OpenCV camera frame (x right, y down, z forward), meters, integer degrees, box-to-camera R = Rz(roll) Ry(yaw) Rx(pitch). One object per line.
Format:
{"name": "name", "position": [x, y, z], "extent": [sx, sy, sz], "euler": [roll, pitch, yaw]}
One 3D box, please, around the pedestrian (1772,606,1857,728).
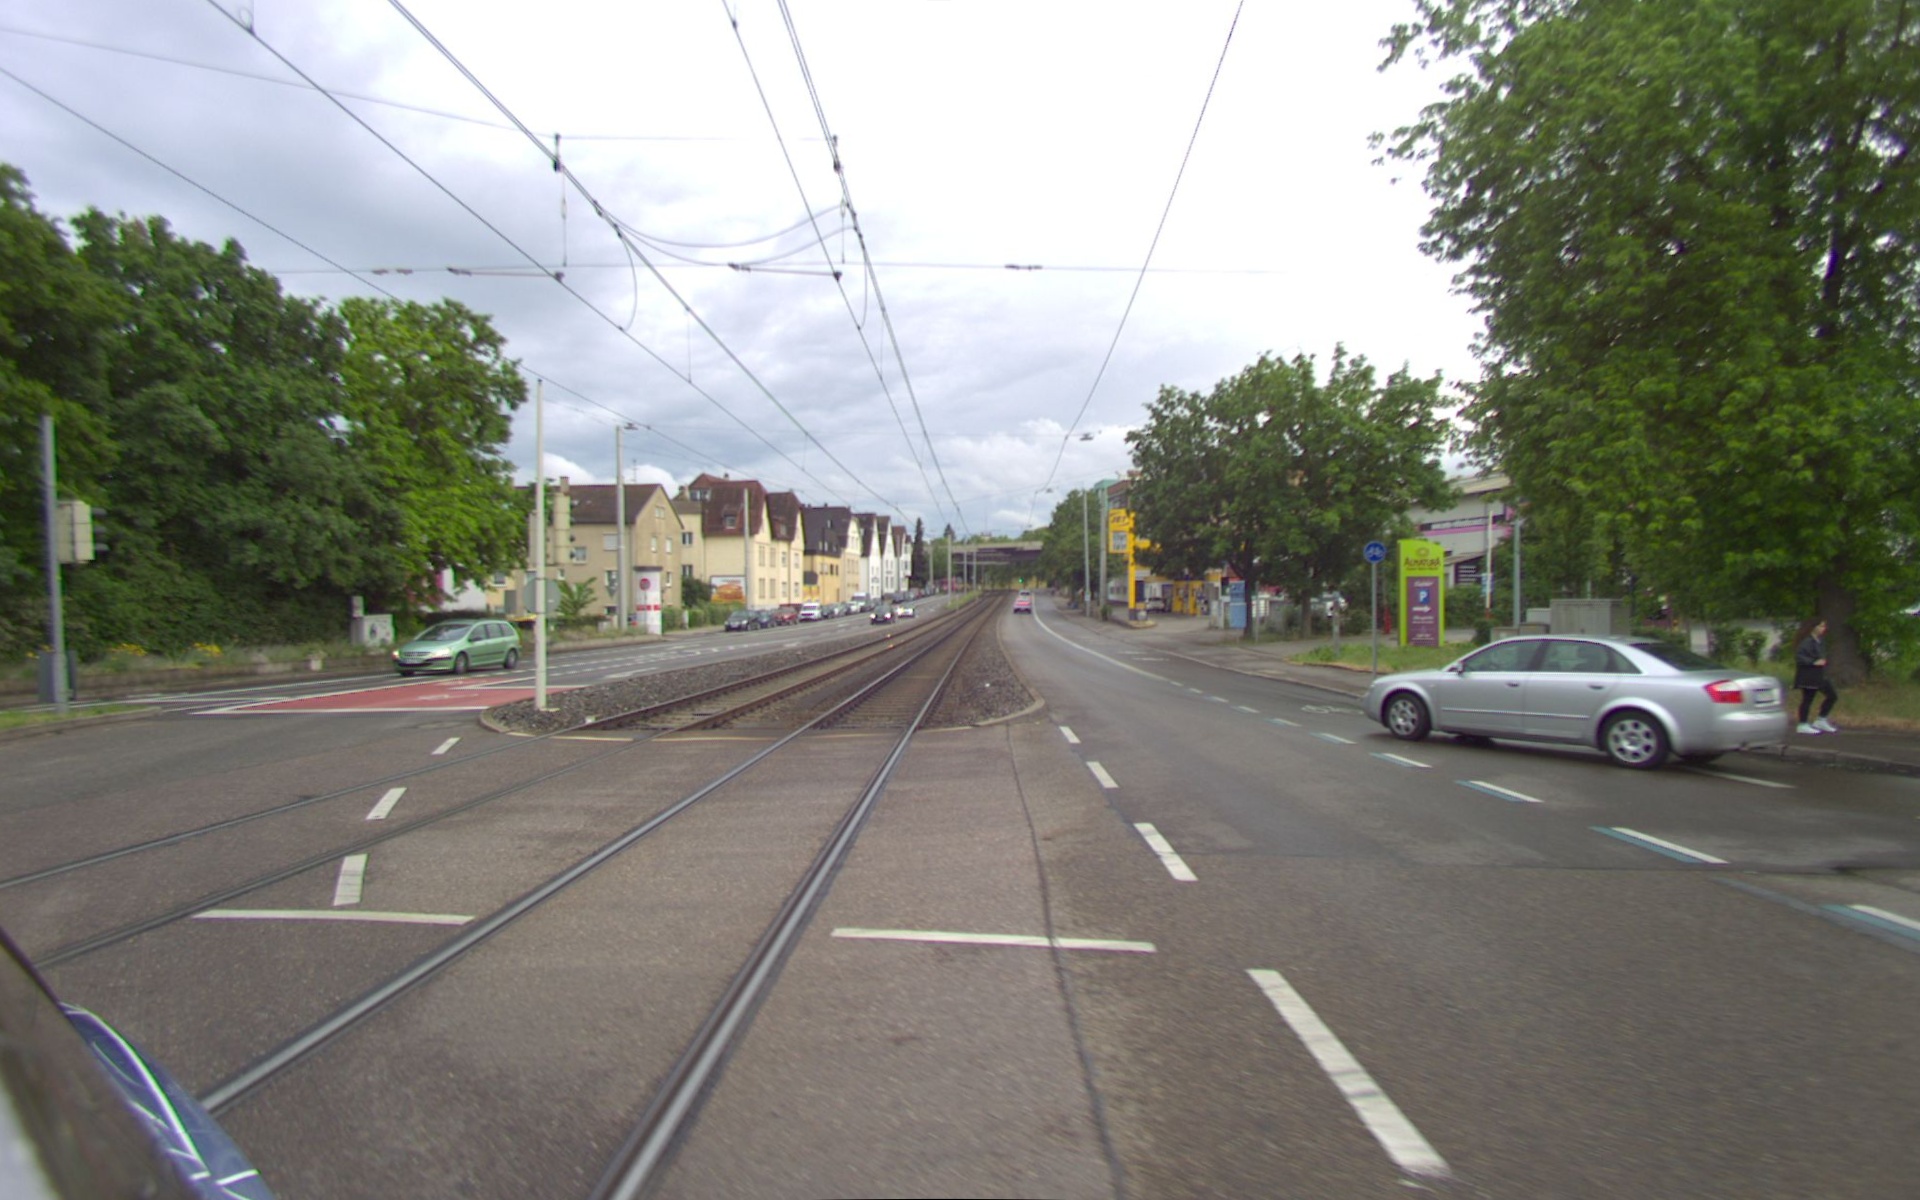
{"name": "pedestrian", "position": [11.415, 0.870, 13.531], "extent": [0.582, 1.543, 0.671], "euler": [-3, 1, -27]}

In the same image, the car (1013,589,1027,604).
{"name": "car", "position": [8.726, -0.534, 147.184], "extent": [1.973, 2.029, 5.056], "euler": [2, 0, 3]}

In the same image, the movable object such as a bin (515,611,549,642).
{"name": "movable object such as a bin", "position": [-21.604, 1.338, 51.124], "extent": [1.172, 1.428, 1.134], "euler": [-2, 1, 1]}

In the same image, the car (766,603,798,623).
{"name": "car", "position": [-15.608, 1.115, 89.006], "extent": [1.818, 1.640, 4.096], "euler": [-2, 1, 3]}

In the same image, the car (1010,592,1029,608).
{"name": "car", "position": [6.624, -0.013, 113.731], "extent": [1.973, 1.662, 4.757], "euler": [1, 0, 2]}

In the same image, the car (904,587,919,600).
{"name": "car", "position": [-8.366, -1.091, 173.464], "extent": [1.954, 2.010, 4.429], "euler": [-2, 2, 5]}

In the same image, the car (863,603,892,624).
{"name": "car", "position": [-6.699, 1.056, 82.580], "extent": [1.864, 1.435, 4.198], "euler": [-2, 2, 3]}

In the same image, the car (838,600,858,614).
{"name": "car", "position": [-13.262, 0.863, 120.036], "extent": [1.586, 1.475, 4.195], "euler": [-2, 1, 5]}

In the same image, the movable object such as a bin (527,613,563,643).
{"name": "movable object such as a bin", "position": [-21.568, 1.434, 52.626], "extent": [1.297, 1.428, 1.300], "euler": [-2, 1, 1]}

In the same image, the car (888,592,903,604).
{"name": "car", "position": [-9.966, -0.316, 157.041], "extent": [1.706, 1.559, 4.194], "euler": [-2, 2, 6]}

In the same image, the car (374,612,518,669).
{"name": "car", "position": [-14.548, 1.102, 28.930], "extent": [1.864, 1.460, 4.197], "euler": [-1, 0, 3]}

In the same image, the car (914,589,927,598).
{"name": "car", "position": [-7.246, -1.184, 184.762], "extent": [1.706, 1.559, 4.194], "euler": [-2, 2, 6]}

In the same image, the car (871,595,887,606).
{"name": "car", "position": [-11.068, 0.089, 138.763], "extent": [1.705, 1.355, 4.198], "euler": [-2, 2, 3]}

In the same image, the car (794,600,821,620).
{"name": "car", "position": [-14.854, 0.945, 98.863], "extent": [1.828, 1.770, 4.520], "euler": [-2, 1, 2]}

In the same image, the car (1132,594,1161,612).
{"name": "car", "position": [16.468, 0.213, 89.328], "extent": [1.751, 1.426, 4.075], "euler": [-2, 1, 0]}

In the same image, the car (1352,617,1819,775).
{"name": "car", "position": [7.090, 0.983, 11.982], "extent": [1.565, 1.448, 4.438], "euler": [3, -2, -35]}

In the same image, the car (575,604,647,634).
{"name": "car", "position": [-23.865, 1.306, 69.312], "extent": [4.237, 1.667, 1.876], "euler": [-4, 1, 8]}

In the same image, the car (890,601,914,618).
{"name": "car", "position": [-5.731, 0.888, 100.060], "extent": [1.864, 1.435, 4.198], "euler": [-2, 2, 3]}

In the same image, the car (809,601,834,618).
{"name": "car", "position": [-14.176, 0.933, 103.680], "extent": [1.670, 1.523, 4.131], "euler": [-2, 1, 5]}

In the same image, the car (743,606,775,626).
{"name": "car", "position": [-16.130, 1.270, 81.543], "extent": [1.650, 1.454, 3.927], "euler": [-2, 1, 2]}

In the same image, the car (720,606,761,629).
{"name": "car", "position": [-16.262, 1.259, 75.233], "extent": [1.818, 1.545, 4.435], "euler": [-2, 0, 3]}
